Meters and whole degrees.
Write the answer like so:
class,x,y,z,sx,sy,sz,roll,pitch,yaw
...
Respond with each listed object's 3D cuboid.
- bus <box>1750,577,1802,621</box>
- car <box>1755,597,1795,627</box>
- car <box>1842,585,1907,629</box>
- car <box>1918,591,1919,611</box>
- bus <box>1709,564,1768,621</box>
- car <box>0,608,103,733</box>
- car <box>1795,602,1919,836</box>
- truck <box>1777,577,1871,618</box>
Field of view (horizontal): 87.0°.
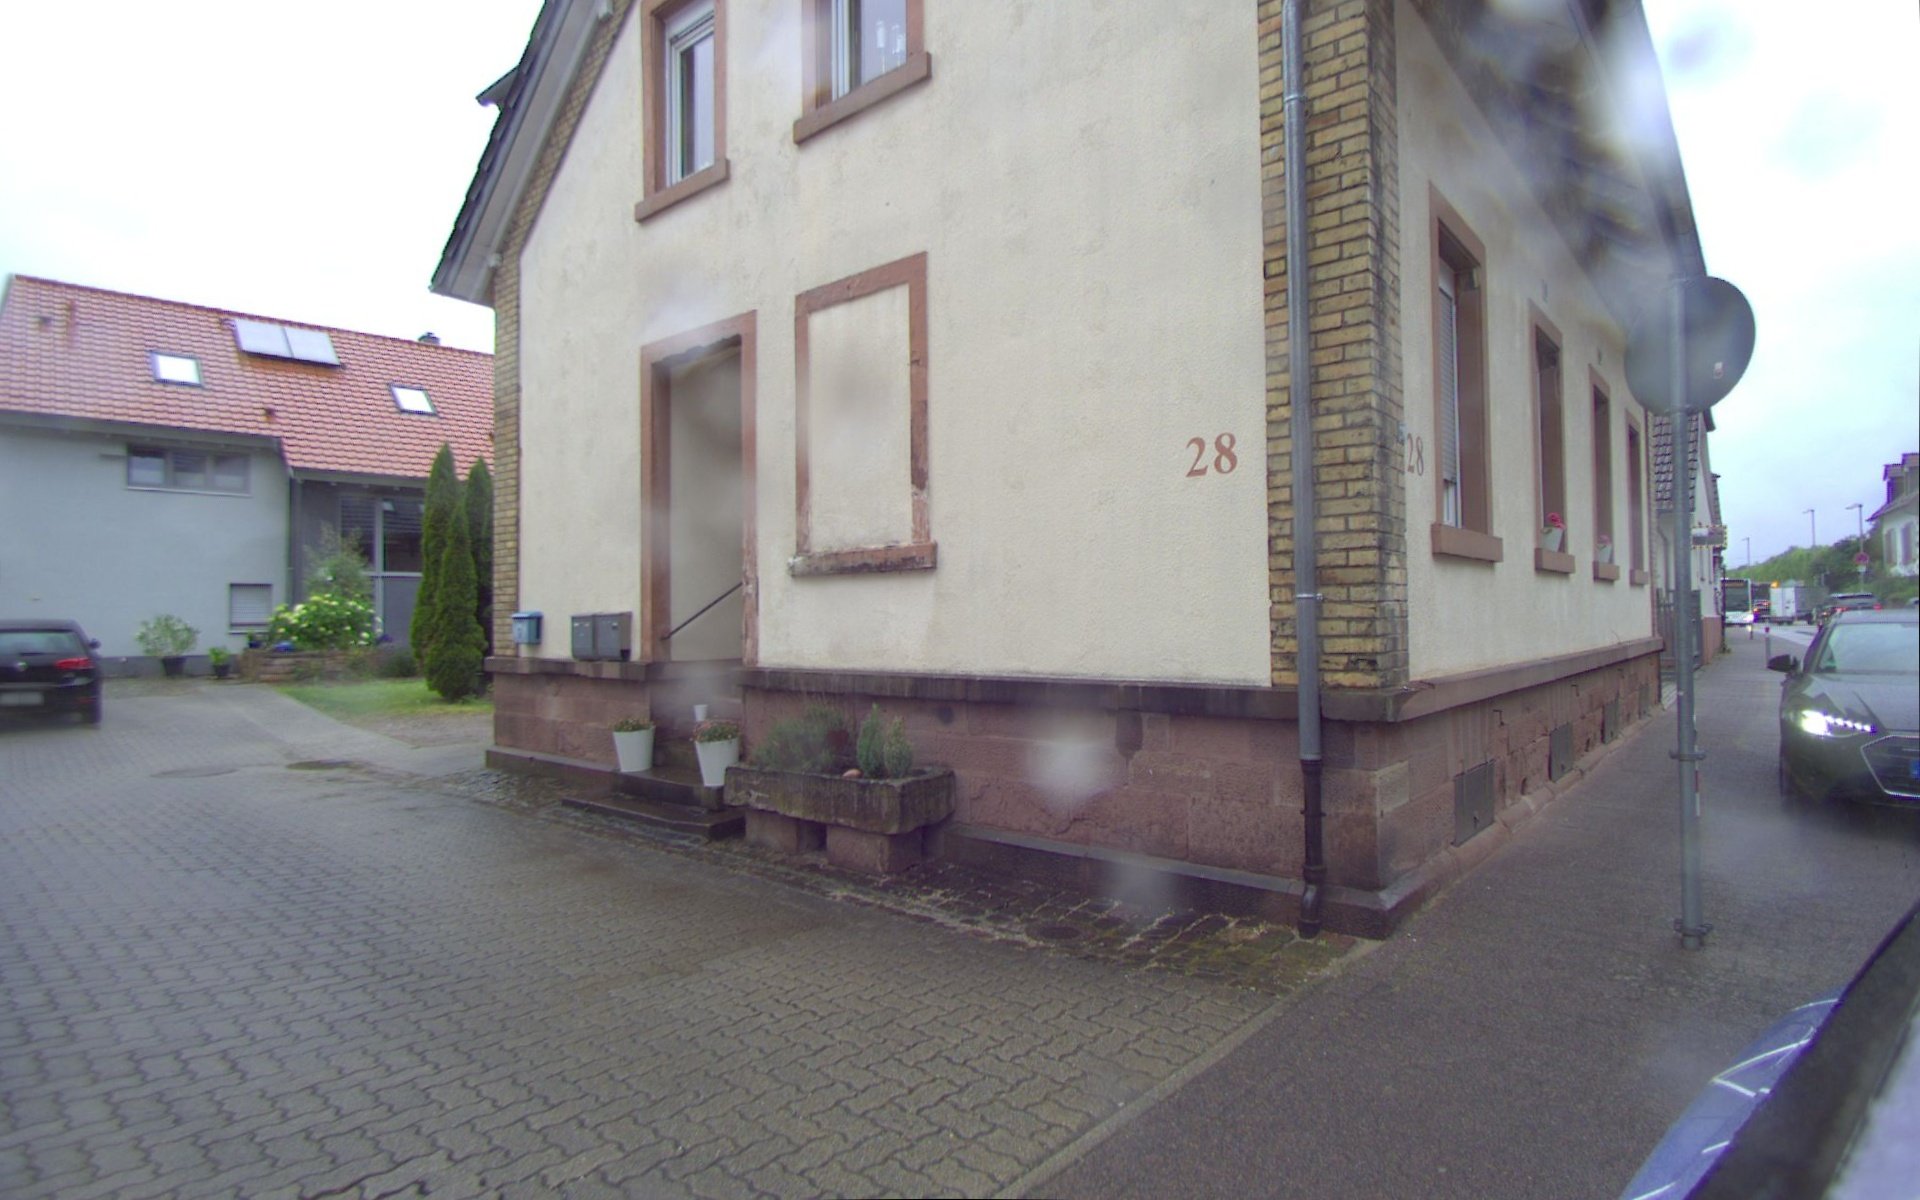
class,x,y,z,sx,sy,sz,roll,pitch,yaw
bus,64.771,-0.149,80.488,2.654,3.273,12.032,0,0,36
car,58.625,0.839,72.815,1.987,2.039,3.949,0,0,36
car,38.807,0.271,43.029,1.777,1.686,4.363,-3,-1,40
car,31.653,0.414,32.040,1.620,1.531,3.737,-5,-3,41
bus,49.018,-0.509,63.924,2.654,3.273,12.032,0,0,36
car,-13.948,0.951,15.110,1.656,1.491,3.993,0,2,-42
car,7.366,0.732,7.540,1.732,1.388,4.044,0,0,39
truck,55.076,-0.200,64.536,5.531,2.536,2.004,0,0,-19
